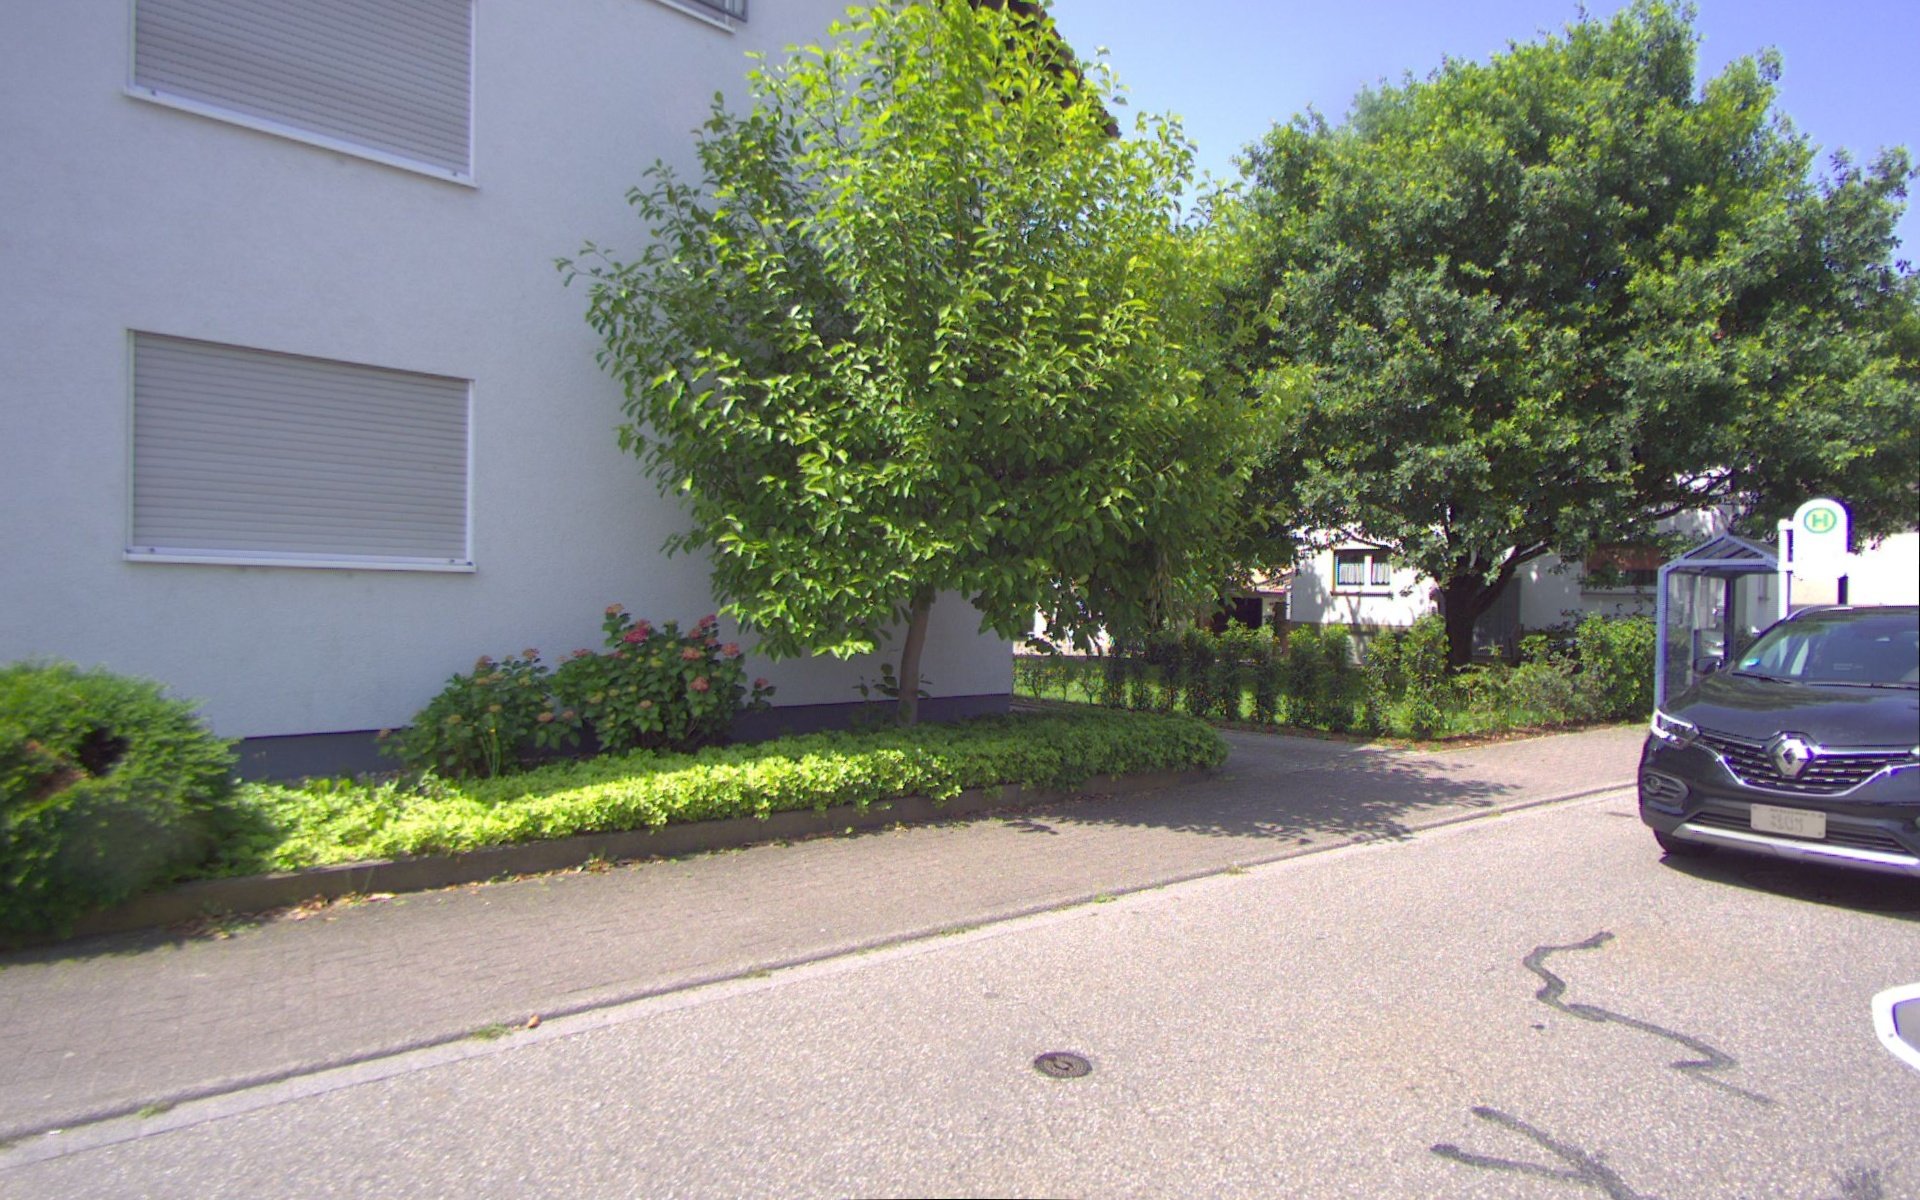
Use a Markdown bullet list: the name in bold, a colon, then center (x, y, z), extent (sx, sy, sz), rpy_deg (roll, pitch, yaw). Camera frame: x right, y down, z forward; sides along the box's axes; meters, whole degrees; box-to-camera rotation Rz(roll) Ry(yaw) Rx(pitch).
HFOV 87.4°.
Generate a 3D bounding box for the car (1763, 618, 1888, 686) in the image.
- **car**: center (21.321, 1.210, 24.698), extent (4.024, 1.454, 1.762), rpy_deg (1, 1, -41)

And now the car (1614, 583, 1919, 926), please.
- **car**: center (6.027, 0.778, 6.358), extent (4.063, 1.645, 1.765), rpy_deg (1, -1, -34)

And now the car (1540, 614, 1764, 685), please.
- **car**: center (16.492, 1.127, 24.120), extent (1.758, 1.559, 4.127), rpy_deg (1, -1, -39)
